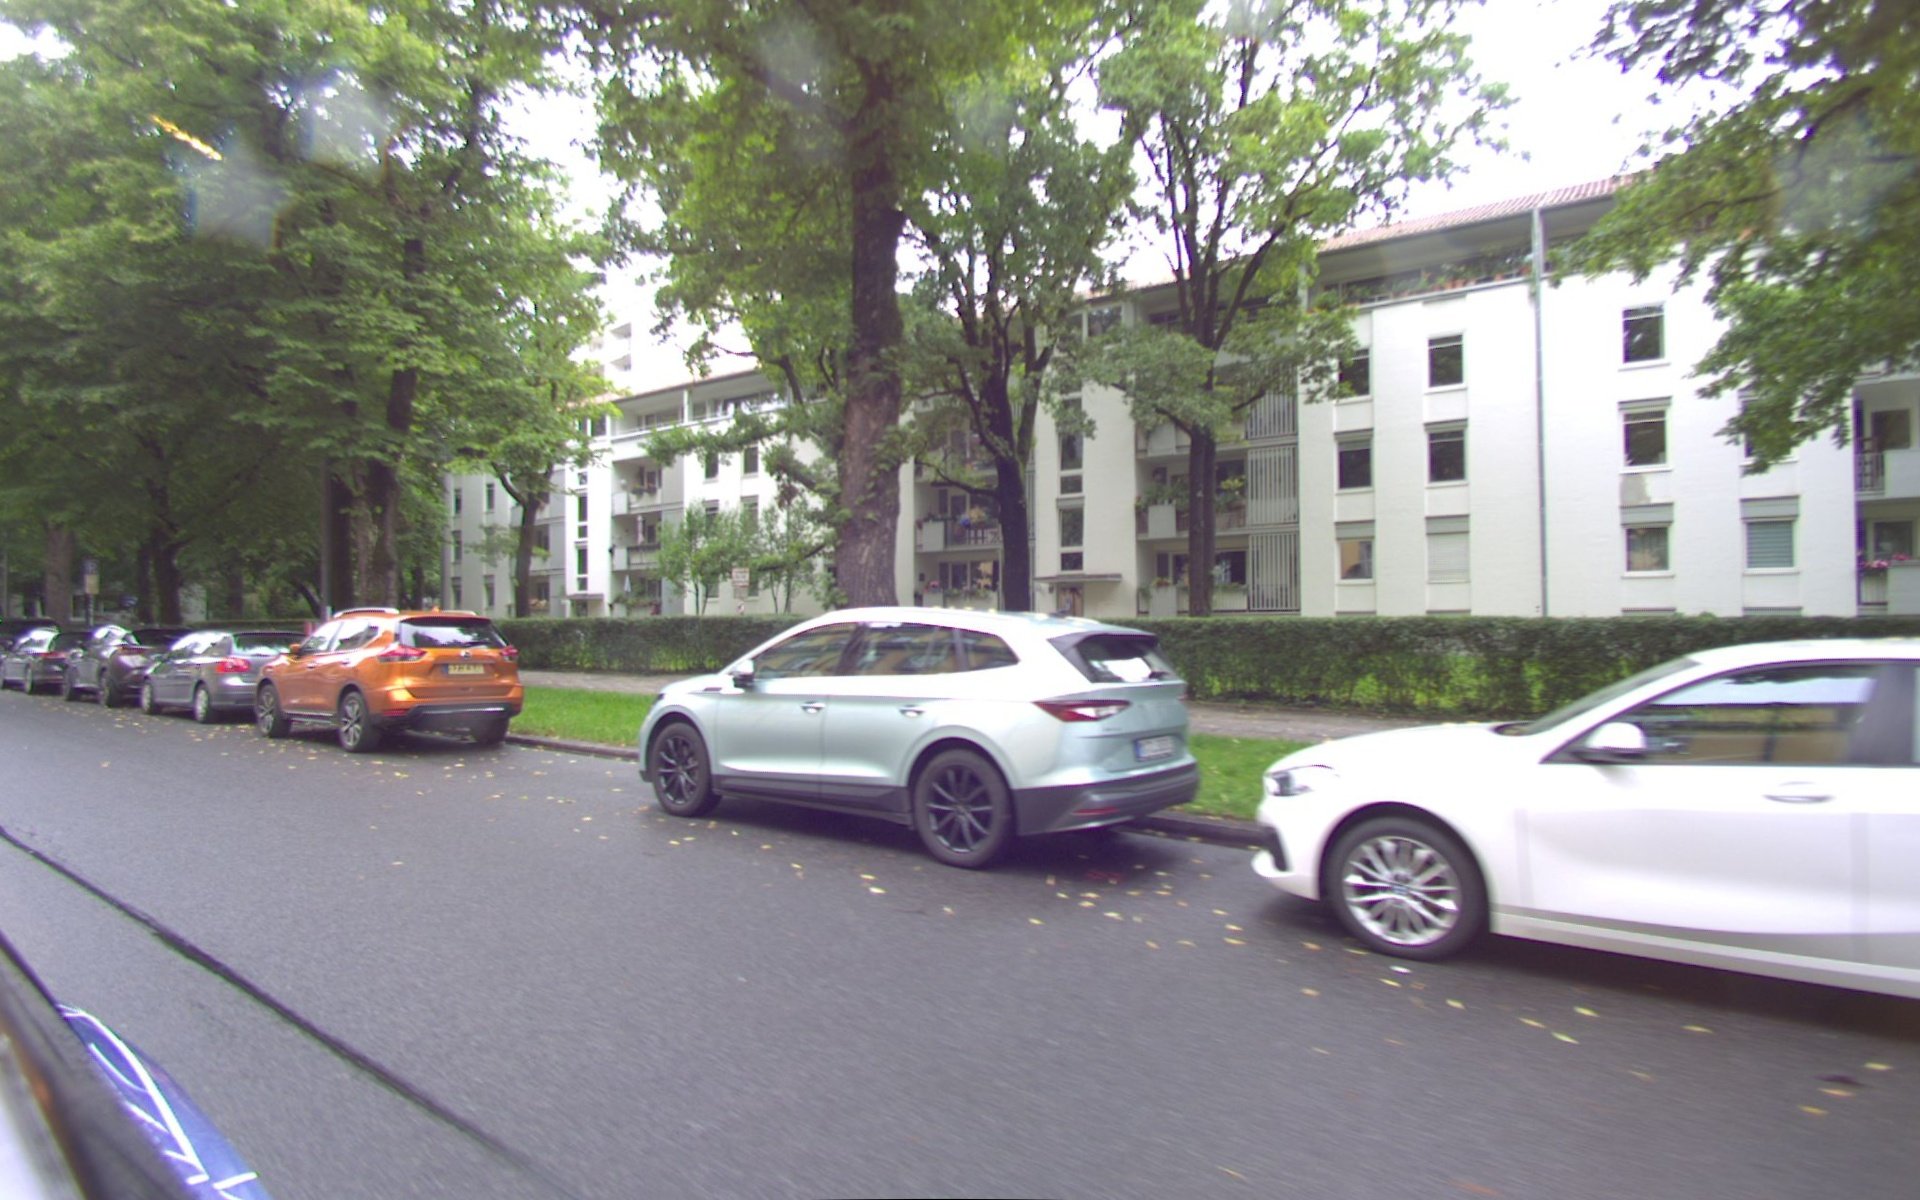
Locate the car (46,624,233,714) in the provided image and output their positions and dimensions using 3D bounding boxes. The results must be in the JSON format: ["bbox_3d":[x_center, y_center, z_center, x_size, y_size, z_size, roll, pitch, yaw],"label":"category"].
[{"bbox_3d":[-16.292,1.314,20.024,4.477,1.586,1.770,-2,-4,36],"label":"car"}]

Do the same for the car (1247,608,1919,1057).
[{"bbox_3d":[3.502,0.801,4.185,4.192,1.508,1.563,-1,-2,37],"label":"car"}]

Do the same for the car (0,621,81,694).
[{"bbox_3d":[-25.193,1.472,26.771,4.913,1.811,1.974,-1,-3,38],"label":"car"}]

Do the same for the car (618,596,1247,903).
[{"bbox_3d":[-0.400,0.837,7.437,4.506,1.613,1.798,-1,-2,37],"label":"car"}]

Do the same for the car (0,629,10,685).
[{"bbox_3d":[-30.653,1.677,30.863,4.517,1.634,1.748,-1,-4,39],"label":"car"}]

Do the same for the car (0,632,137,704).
[{"bbox_3d":[-20.665,1.497,23.283,4.689,1.462,1.702,-1,-2,38],"label":"car"}]

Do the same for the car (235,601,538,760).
[{"bbox_3d":[-7.645,0.941,13.306,4.635,1.741,1.854,-1,-2,38],"label":"car"}]

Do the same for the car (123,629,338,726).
[{"bbox_3d":[-12.304,1.212,16.995,4.243,1.433,1.712,-2,-2,36],"label":"car"}]
